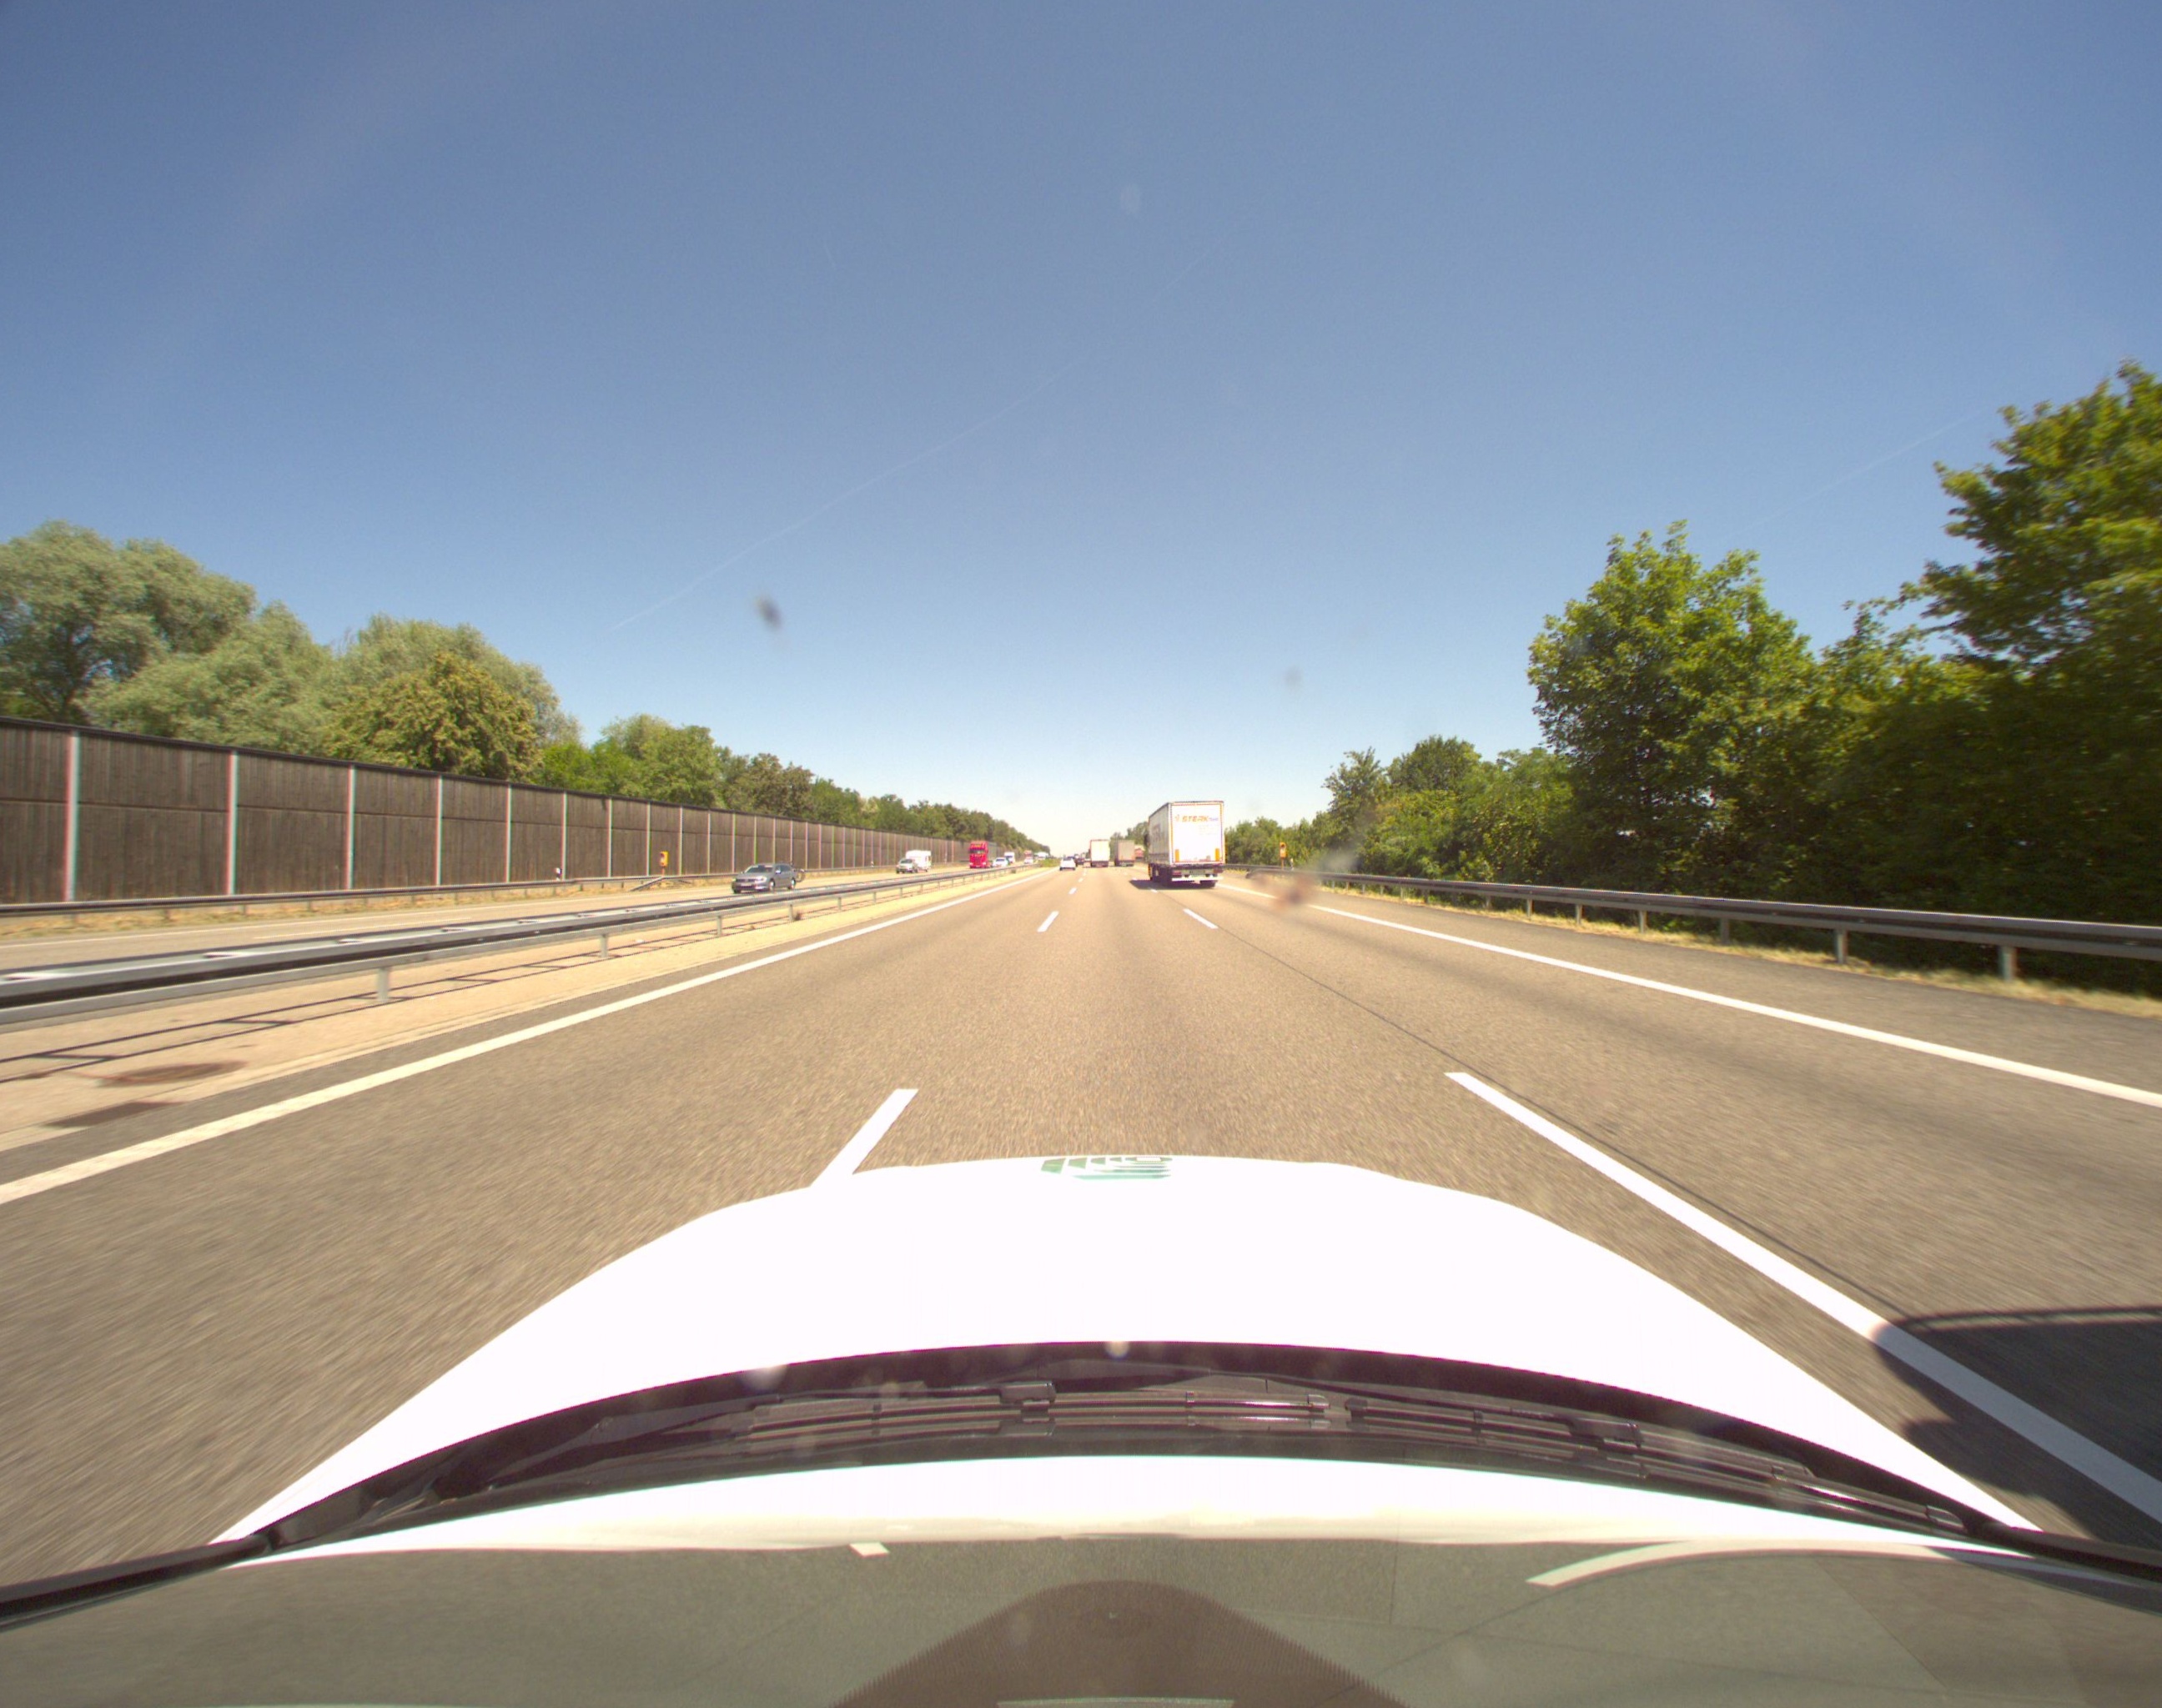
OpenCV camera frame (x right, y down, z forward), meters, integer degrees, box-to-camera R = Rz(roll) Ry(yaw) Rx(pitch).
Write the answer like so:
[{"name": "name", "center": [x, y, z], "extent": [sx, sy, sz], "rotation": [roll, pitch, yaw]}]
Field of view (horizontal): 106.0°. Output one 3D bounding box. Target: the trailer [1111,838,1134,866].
[{"name": "trailer", "center": [6.572, -0.184, 130.045], "extent": [2.696, 4.216, 13.203], "rotation": [0, -1, -1]}]

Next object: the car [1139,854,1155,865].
[{"name": "car", "center": [9.362, 0.776, 115.769], "extent": [1.849, 1.617, 4.000], "rotation": [-1, 0, 1]}]

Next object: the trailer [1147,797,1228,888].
[{"name": "trailer", "center": [5.392, -0.500, 43.882], "extent": [2.698, 4.088, 14.152], "rotation": [-1, 0, 1]}]

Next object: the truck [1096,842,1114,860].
[{"name": "truck", "center": [6.097, -0.675, 210.284], "extent": [3.367, 4.304, 11.435], "rotation": [2, 0, -3]}]

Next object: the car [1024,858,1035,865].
[{"name": "car", "center": [-10.722, 1.526, 168.622], "extent": [1.798, 1.544, 4.248], "rotation": [-1, 0, 2]}]

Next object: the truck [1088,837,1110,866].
[{"name": "truck", "center": [2.600, -0.346, 123.038], "extent": [2.699, 4.086, 13.464], "rotation": [0, -1, -1]}]

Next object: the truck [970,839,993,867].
[{"name": "truck", "center": [-15.023, -0.141, 123.037], "extent": [2.350, 4.076, 7.154], "rotation": [-1, 0, 1]}]

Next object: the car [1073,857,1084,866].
[{"name": "car", "center": [-0.453, 1.459, 151.052], "extent": [1.850, 1.617, 3.997], "rotation": [-1, 0, -2]}]

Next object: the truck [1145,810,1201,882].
[{"name": "truck", "center": [5.498, -0.449, 49.943], "extent": [2.698, 4.088, 6.964], "rotation": [-1, 0, 1]}]

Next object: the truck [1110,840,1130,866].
[{"name": "truck", "center": [6.439, -0.138, 135.593], "extent": [2.684, 4.216, 7.833], "rotation": [0, -1, -1]}]

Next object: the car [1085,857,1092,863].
[{"name": "car", "center": [1.938, 1.510, 209.663], "extent": [1.850, 1.617, 3.998], "rotation": [-1, 0, -1]}]

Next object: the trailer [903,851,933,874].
[{"name": "trailer", "center": [-18.816, 0.960, 94.428], "extent": [2.124, 2.476, 6.268], "rotation": [-1, 0, 0]}]

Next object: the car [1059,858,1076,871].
[{"name": "car", "center": [-1.552, 1.194, 96.466], "extent": [1.849, 1.486, 3.999], "rotation": [-1, 0, 0]}]

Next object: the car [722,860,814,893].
[{"name": "car", "center": [-15.709, 1.074, 41.284], "extent": [2.116, 1.522, 5.985], "rotation": [-1, 0, 2]}]

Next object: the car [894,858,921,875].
[{"name": "car", "center": [-18.849, 1.353, 88.846], "extent": [1.893, 1.711, 4.905], "rotation": [-1, 0, 0]}]

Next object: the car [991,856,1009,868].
[{"name": "car", "center": [-10.812, 1.090, 109.579], "extent": [1.892, 1.521, 4.419], "rotation": [-1, 0, 1]}]
